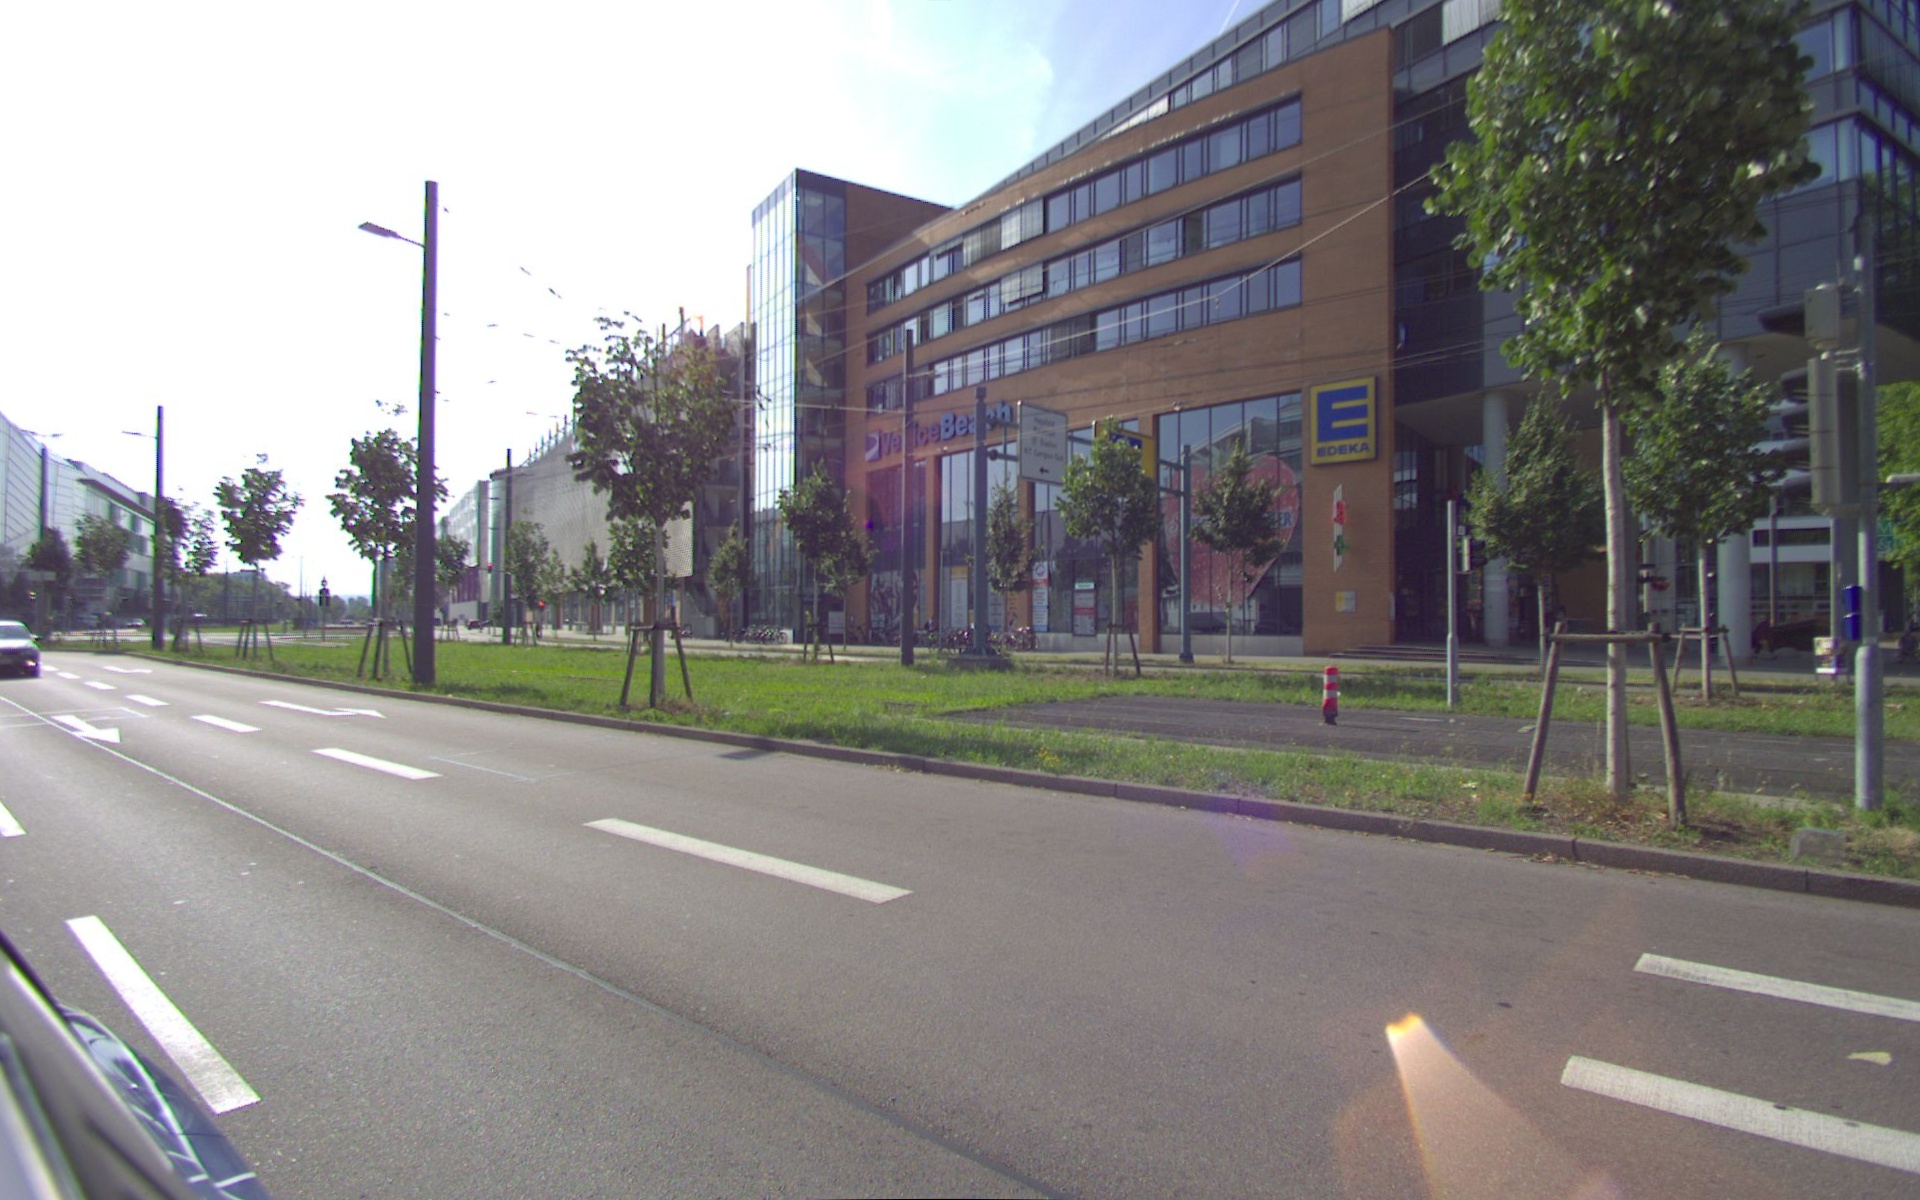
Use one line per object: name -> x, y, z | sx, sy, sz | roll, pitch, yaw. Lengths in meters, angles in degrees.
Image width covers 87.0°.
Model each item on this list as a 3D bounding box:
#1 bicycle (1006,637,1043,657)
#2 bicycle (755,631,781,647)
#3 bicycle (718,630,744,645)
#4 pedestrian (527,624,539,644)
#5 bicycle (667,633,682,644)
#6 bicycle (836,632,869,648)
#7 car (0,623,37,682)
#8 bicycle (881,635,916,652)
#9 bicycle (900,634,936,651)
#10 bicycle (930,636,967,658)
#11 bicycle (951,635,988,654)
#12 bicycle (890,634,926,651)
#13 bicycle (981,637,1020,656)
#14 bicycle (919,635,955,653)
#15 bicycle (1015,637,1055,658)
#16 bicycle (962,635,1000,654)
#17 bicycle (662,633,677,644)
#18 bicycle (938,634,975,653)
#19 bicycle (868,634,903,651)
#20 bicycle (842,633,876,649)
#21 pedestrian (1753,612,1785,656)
bicycle -> 3.112, 2.246, 48.766 | 2.021, 0.928, 0.381 | 1, -2, -38
bicycle -> -11.802, 2.374, 62.250 | 1.557, 0.947, 0.412 | 1, -2, -33
bicycle -> -14.729, 2.400, 65.045 | 1.557, 0.947, 0.474 | 1, -2, -33
pedestrian -> -34.578, 2.759, 81.956 | 0.751, 1.591, 0.591 | 1, -2, -37
bicycle -> -20.850, 2.823, 73.823 | 1.007, 0.758, 0.362 | 1, -2, -31
bicycle -> -6.442, 2.409, 60.742 | 2.021, 0.928, 0.574 | 1, -2, -38
car -> -25.164, 1.326, 26.104 | 3.894, 1.430, 1.622 | -1, -2, 42
bicycle -> -3.436, 2.444, 56.795 | 2.021, 0.928, 0.574 | 1, -2, -38
bicycle -> -2.304, 2.327, 55.444 | 2.021, 0.928, 0.574 | 1, -2, -38
bicycle -> -0.525, 2.090, 45.318 | 0.710, 0.914, 1.656 | -1, -1, 44
bicycle -> 0.503, 2.280, 52.083 | 2.021, 0.928, 0.574 | 1, -2, -38
bicycle -> -2.884, 2.348, 56.099 | 2.021, 0.928, 0.574 | 1, -2, -38
bicycle -> 1.996, 2.281, 49.977 | 2.021, 0.928, 0.574 | 1, -2, -38
bicycle -> -1.222, 2.336, 54.051 | 2.021, 0.928, 0.574 | 1, -2, -38
bicycle -> 3.593, 2.252, 48.205 | 2.021, 0.928, 0.574 | 1, -2, -38
bicycle -> 1.095, 2.269, 51.400 | 2.021, 0.928, 0.574 | 1, -2, -38
bicycle -> -21.468, 2.846, 74.846 | 0.989, 0.758, 0.453 | 1, -2, -31
bicycle -> -0.164, 2.271, 52.779 | 2.021, 0.928, 0.574 | 1, -2, -38
bicycle -> -4.254, 2.399, 57.777 | 2.021, 0.928, 0.574 | 1, -2, -38
bicycle -> -5.971, 2.414, 60.172 | 2.021, 0.928, 0.574 | 1, -2, -38
pedestrian -> 28.612, 1.197, 35.798 | 0.608, 1.554, 0.665 | 1, -2, -30
